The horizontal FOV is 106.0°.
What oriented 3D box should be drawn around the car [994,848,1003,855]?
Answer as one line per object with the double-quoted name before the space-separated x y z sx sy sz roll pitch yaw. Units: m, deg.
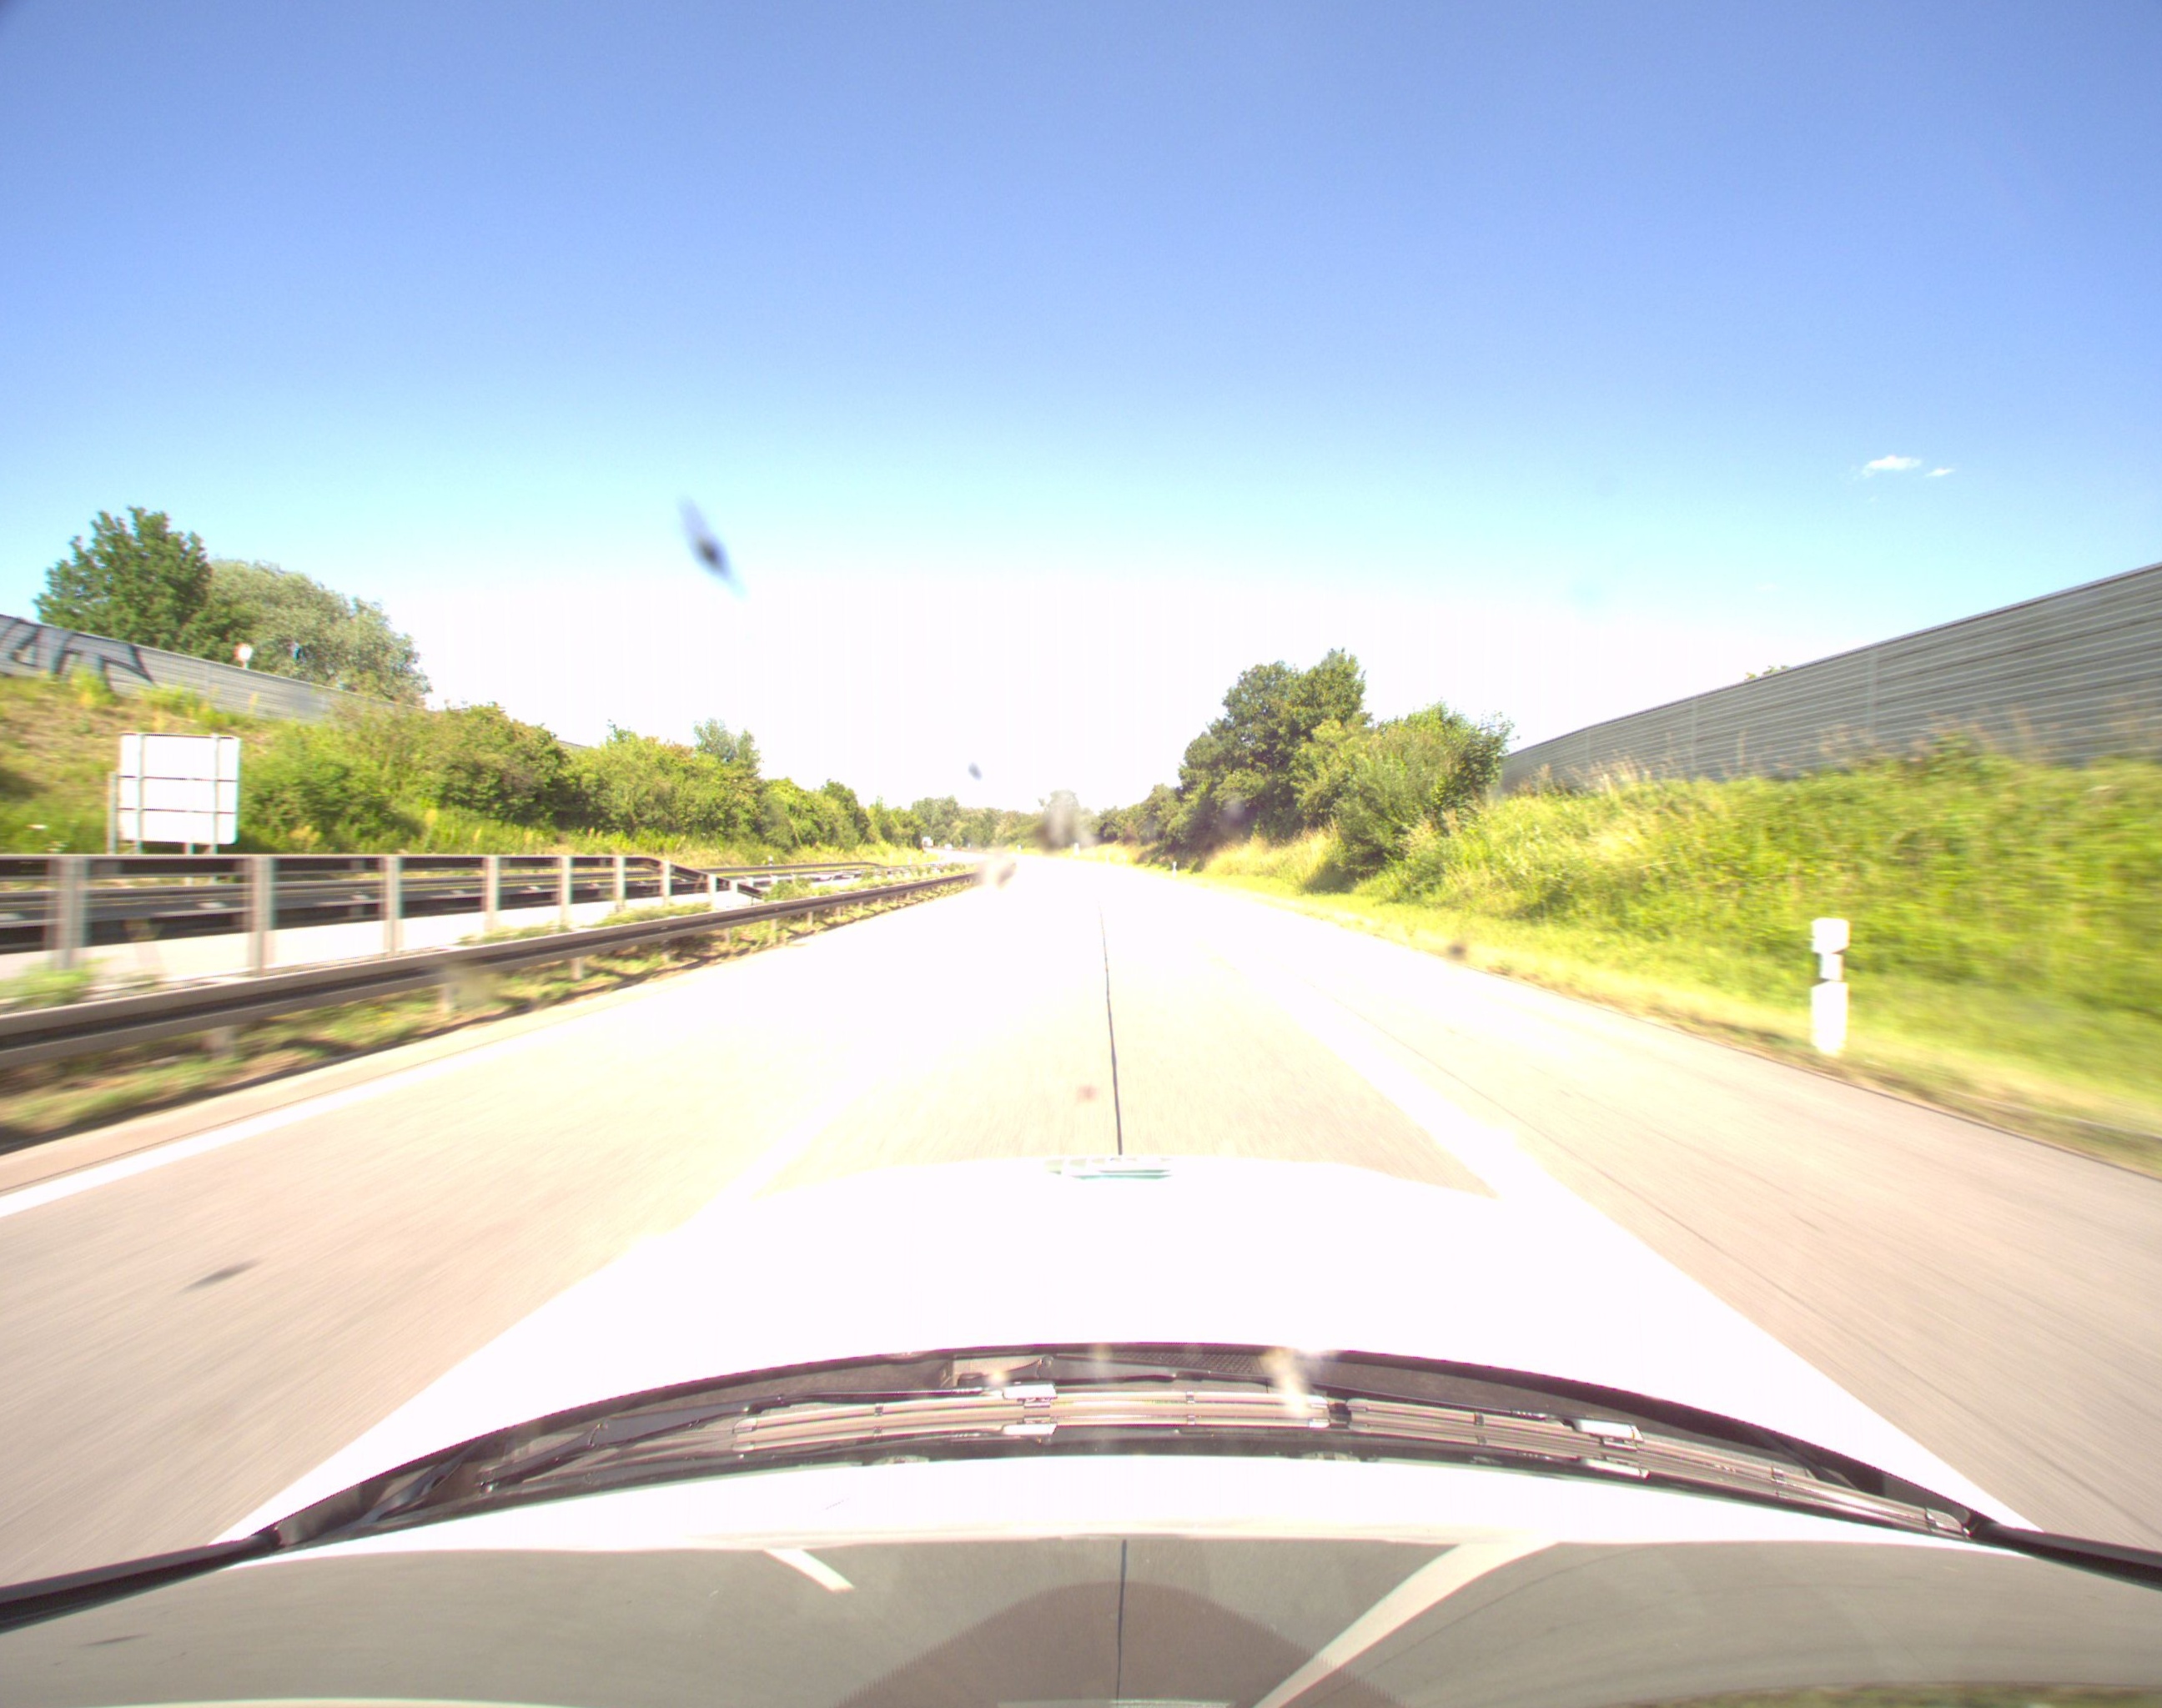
"car" -21.855 -0.601 215.884 2.064 1.625 3.981 0 -1 -13
